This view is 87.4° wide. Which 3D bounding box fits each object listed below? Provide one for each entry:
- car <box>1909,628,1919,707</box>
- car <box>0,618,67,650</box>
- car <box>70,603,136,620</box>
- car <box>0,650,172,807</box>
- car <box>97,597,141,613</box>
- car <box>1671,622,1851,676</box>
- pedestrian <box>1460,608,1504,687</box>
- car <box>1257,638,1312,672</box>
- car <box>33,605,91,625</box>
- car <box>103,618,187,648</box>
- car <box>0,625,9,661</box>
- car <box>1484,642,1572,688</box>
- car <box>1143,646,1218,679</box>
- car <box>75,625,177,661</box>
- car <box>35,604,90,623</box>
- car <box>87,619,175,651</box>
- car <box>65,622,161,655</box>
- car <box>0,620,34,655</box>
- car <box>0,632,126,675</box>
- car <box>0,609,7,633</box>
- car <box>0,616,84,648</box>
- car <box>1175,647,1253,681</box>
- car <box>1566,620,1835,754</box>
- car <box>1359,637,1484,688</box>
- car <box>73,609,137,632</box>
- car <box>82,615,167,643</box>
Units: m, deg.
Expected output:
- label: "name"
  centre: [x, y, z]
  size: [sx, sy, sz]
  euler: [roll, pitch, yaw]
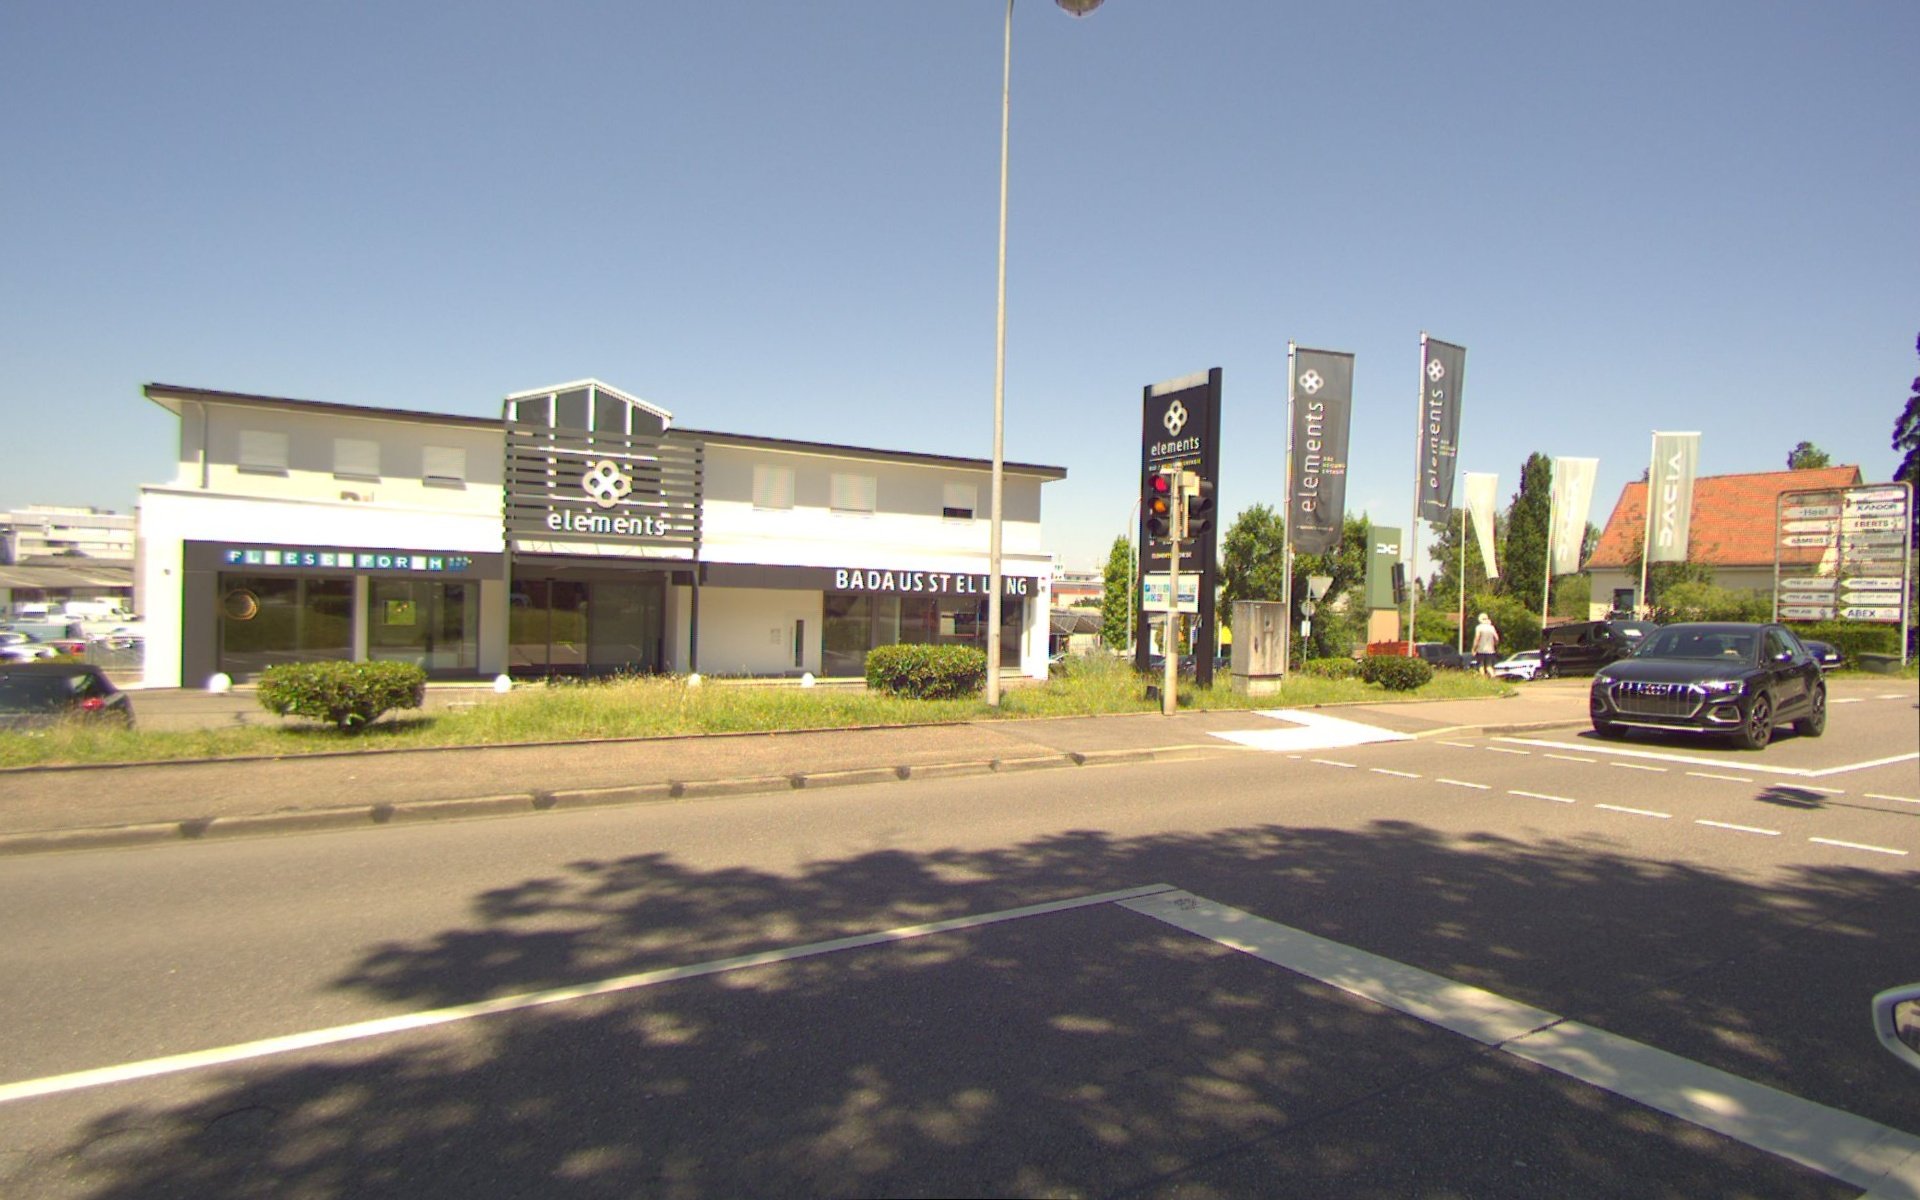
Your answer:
- label: "car"
  centre: [20.573, 1.355, 19.842]
  size: [4.011, 1.527, 1.857]
  euler: [2, -1, -34]
- label: "car"
  centre: [-53.491, 1.929, 57.075]
  size: [3.726, 1.778, 1.719]
  euler: [2, -1, -28]
- label: "car"
  centre: [-95.843, 1.294, 112.397]
  size: [5.236, 1.778, 2.051]
  euler: [2, -1, -28]
- label: "car"
  centre: [-11.769, 1.506, 12.795]
  size: [1.746, 1.553, 4.076]
  euler: [1, -1, -24]
- label: "car"
  centre: [-100.137, 0.597, 119.612]
  size: [3.726, 1.778, 1.719]
  euler: [2, -1, -28]
- label: "car"
  centre: [25.016, 1.494, 31.540]
  size: [1.751, 1.524, 4.129]
  euler: [1, -1, -20]
- label: "pedestrian"
  centre: [12.072, 1.094, 23.236]
  size: [0.689, 1.785, 0.545]
  euler: [1, 0, -4]
- label: "car"
  centre: [18.684, 3.116, 57.763]
  size: [1.785, 1.744, 4.075]
  euler: [2, 0, 36]
- label: "car"
  centre: [-84.121, 1.429, 94.170]
  size: [3.726, 1.778, 1.719]
  euler: [2, -1, -28]
- label: "car"
  centre: [-50.287, 2.051, 62.069]
  size: [3.726, 1.778, 1.719]
  euler: [2, -1, -28]
- label: "car"
  centre: [-49.213, 2.095, 48.963]
  size: [3.726, 1.778, 1.719]
  euler: [2, -1, -28]
- label: "car"
  centre: [23.895, 2.678, 42.215]
  size: [4.053, 1.744, 1.795]
  euler: [2, 0, -38]
- label: "car"
  centre: [11.021, 3.095, 50.078]
  size: [3.973, 1.506, 1.735]
  euler: [2, -1, -44]
- label: "car"
  centre: [-43.139, 2.221, 52.029]
  size: [3.726, 1.778, 1.719]
  euler: [2, -1, -28]
- label: "car"
  centre: [-88.198, 1.313, 98.764]
  size: [3.726, 1.778, 1.719]
  euler: [2, -1, -28]
- label: "car"
  centre: [-49.022, 2.074, 59.482]
  size: [3.726, 1.778, 1.719]
  euler: [2, -1, -28]
- label: "car"
  centre: [-46.780, 2.131, 55.563]
  size: [3.726, 1.778, 1.719]
  euler: [2, -1, -28]
- label: "car"
  centre: [-51.431, 1.973, 52.787]
  size: [3.726, 1.778, 1.719]
  euler: [2, -1, -28]
- label: "car"
  centre: [-38.906, 2.311, 43.658]
  size: [3.726, 1.778, 1.719]
  euler: [2, -1, -28]
- label: "car"
  centre: [-74.822, 1.578, 75.847]
  size: [3.726, 1.778, 1.719]
  euler: [2, 1, -28]
- label: "car"
  centre: [-54.853, 1.904, 59.819]
  size: [3.726, 1.778, 1.719]
  euler: [2, -1, -28]
- label: "car"
  centre: [12.073, 3.004, 47.646]
  size: [3.837, 1.434, 1.633]
  euler: [2, -1, -41]
- label: "car"
  centre: [10.453, 1.108, 14.089]
  size: [4.263, 1.576, 1.912]
  euler: [2, -1, -37]
- label: "car"
  centre: [17.216, 2.329, 37.501]
  size: [4.022, 1.744, 1.808]
  euler: [2, 0, -16]
- label: "car"
  centre: [-71.035, 1.710, 83.493]
  size: [3.726, 1.778, 1.719]
  euler: [2, -1, -28]
- label: "car"
  centre: [-55.271, 1.918, 66.510]
  size: [4.004, 1.778, 1.719]
  euler: [2, -1, -28]
